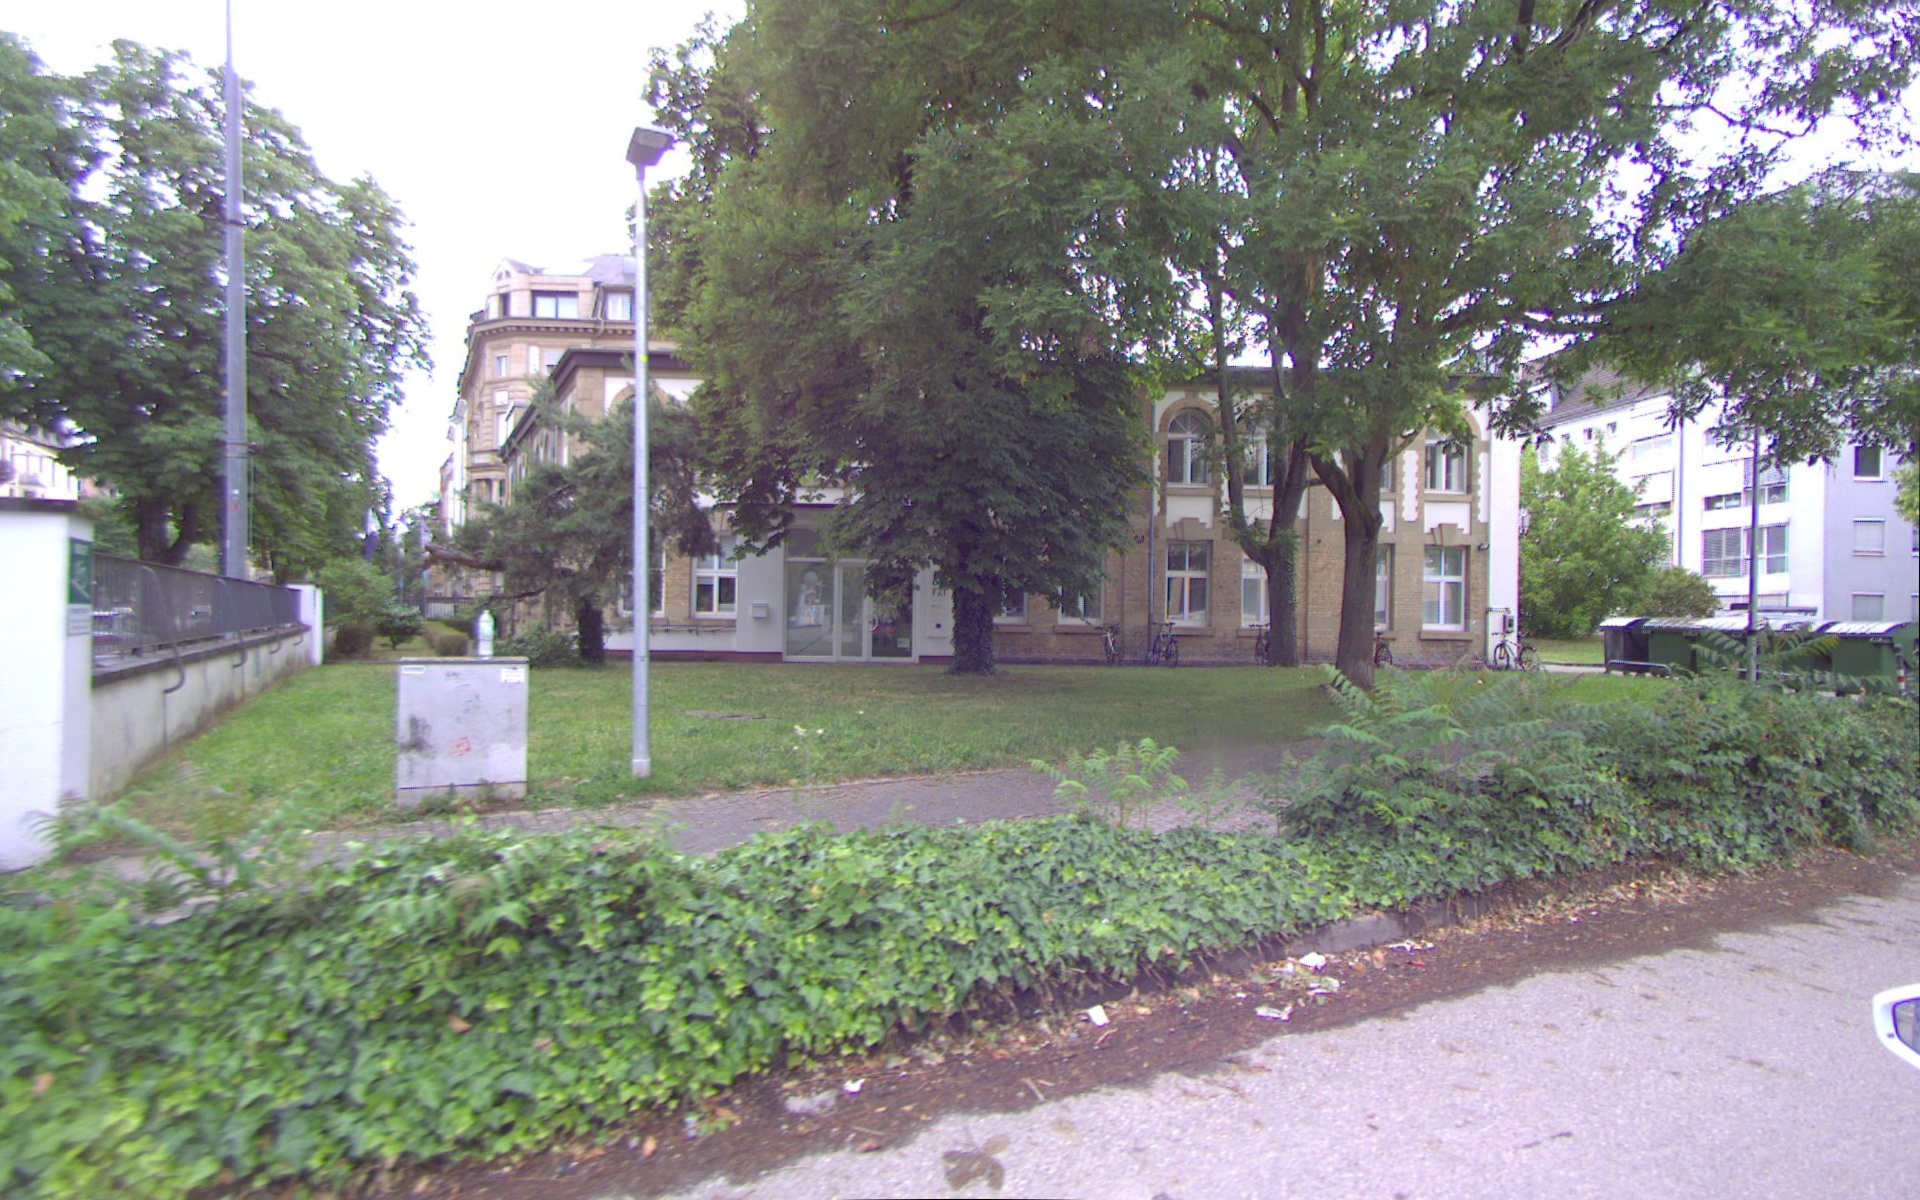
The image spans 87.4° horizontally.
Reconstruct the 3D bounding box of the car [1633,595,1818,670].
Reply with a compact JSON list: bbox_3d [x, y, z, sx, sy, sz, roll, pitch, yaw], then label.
[{"bbox_3d":[22.477,0.957,29.558,4.270,2.040,1.852,1,-1,-7],"label":"car"}]

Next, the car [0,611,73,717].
[{"bbox_3d":[-15.471,0.943,15.859,1.463,1.500,3.537,2,-1,-30],"label":"car"}]

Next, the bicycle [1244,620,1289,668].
[{"bbox_3d":[7.705,1.092,25.365,0.606,1.134,2.222,0,0,4],"label":"bicycle"}]

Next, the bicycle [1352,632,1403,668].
[{"bbox_3d":[10.584,1.262,25.526,0.606,0.824,1.945,0,0,4],"label":"bicycle"}]

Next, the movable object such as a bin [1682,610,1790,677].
[{"bbox_3d":[15.288,0.842,19.834,1.036,1.281,1.352,1,0,-8],"label":"movable object such as a bin"}]

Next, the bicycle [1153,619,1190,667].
[{"bbox_3d":[5.287,1.044,25.206,0.606,1.134,2.222,0,0,4],"label":"bicycle"}]

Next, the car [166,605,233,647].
[{"bbox_3d":[-25.556,0.854,33.819,1.497,1.320,3.151,1,0,-32],"label":"car"}]

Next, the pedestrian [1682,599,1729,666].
[{"bbox_3d":[20.646,0.905,27.830,0.742,1.832,0.698,1,-2,-6],"label":"pedestrian"}]

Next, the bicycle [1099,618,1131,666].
[{"bbox_3d":[3.894,1.023,25.365,0.606,1.134,2.222,0,0,4],"label":"bicycle"}]

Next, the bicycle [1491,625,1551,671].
[{"bbox_3d":[14.321,1.205,25.678,0.388,1.079,1.827,1,0,-4],"label":"bicycle"}]

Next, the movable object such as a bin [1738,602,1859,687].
[{"bbox_3d":[15.357,0.799,18.439,1.036,1.475,1.352,1,-1,-8],"label":"movable object such as a bin"}]

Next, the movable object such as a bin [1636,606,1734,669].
[{"bbox_3d":[15.324,0.783,21.272,1.037,1.281,1.351,1,0,-11],"label":"movable object such as a bin"}]

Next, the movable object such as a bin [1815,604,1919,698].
[{"bbox_3d":[15.423,0.825,16.843,1.034,1.469,1.355,1,1,6],"label":"movable object such as a bin"}]

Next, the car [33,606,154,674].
[{"bbox_3d":[-18.698,0.809,21.797,1.497,1.320,3.151,1,0,-32],"label":"car"}]
